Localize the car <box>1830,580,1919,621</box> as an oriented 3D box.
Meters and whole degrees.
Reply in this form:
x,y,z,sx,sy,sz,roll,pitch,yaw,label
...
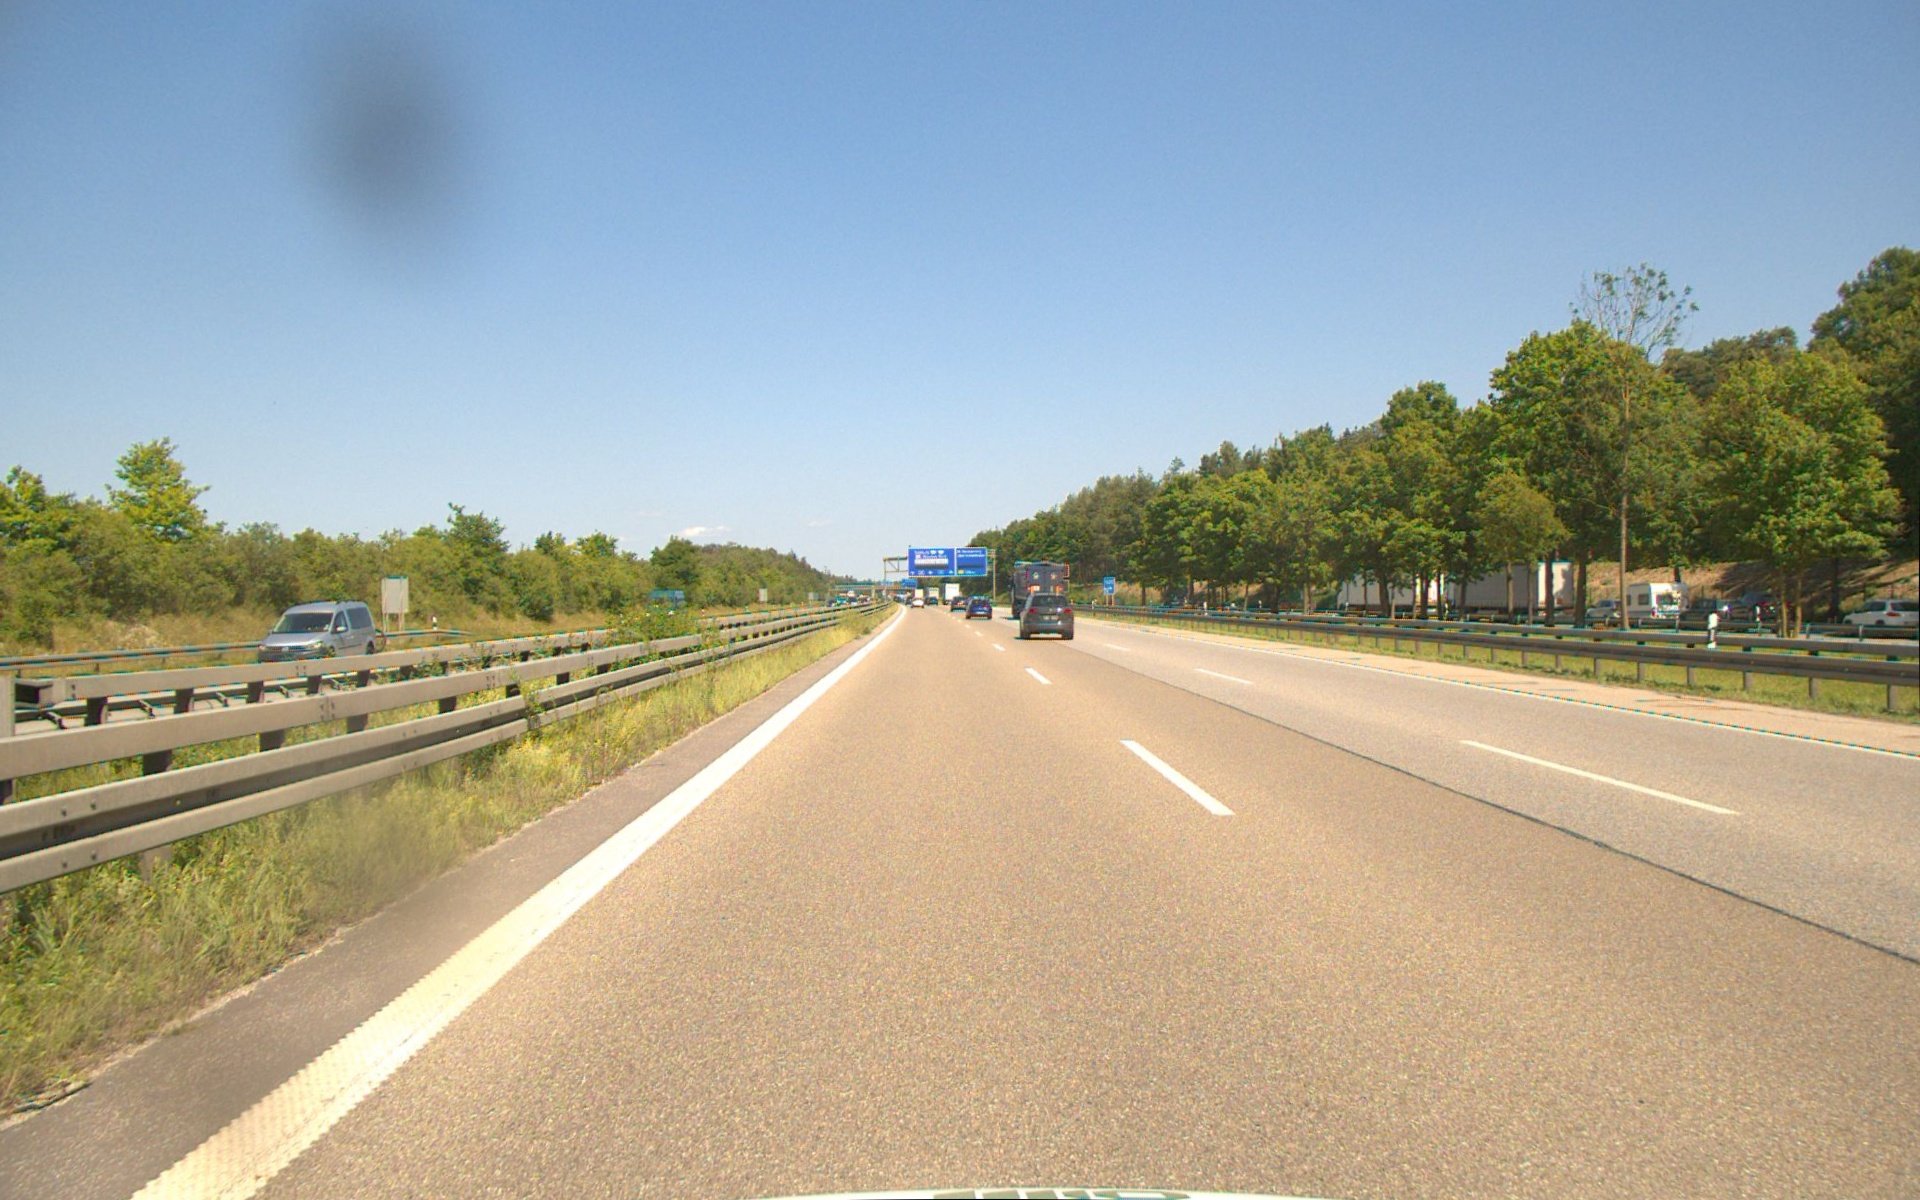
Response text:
x,y,z,sx,sy,sz,roll,pitch,yaw,label
39.921,0.013,72.056,1.622,1.705,4.651,0,0,0,car

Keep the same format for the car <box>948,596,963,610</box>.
x,y,z,sx,sy,sz,roll,pitch,yaw,label
-0.500,0.348,174.351,1.441,1.422,3.410,2,0,-1,car

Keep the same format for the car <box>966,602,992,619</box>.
x,y,z,sx,sy,sz,roll,pitch,yaw,label
1.315,0.716,114.745,1.674,1.176,3.688,-1,0,-1,car

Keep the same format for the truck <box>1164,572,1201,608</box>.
x,y,z,sx,sy,sz,roll,pitch,yaw,label
25.100,-1.155,186.699,2.528,3.983,4.848,0,0,-14,truck

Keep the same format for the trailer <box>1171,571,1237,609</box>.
x,y,z,sx,sy,sz,roll,pitch,yaw,label
26.553,-1.054,180.730,2.528,3.983,12.701,0,0,-14,trailer

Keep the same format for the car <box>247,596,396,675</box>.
x,y,z,sx,sy,sz,roll,pitch,yaw,label
-16.861,0.877,43.976,1.953,1.867,5.331,-3,0,-2,car

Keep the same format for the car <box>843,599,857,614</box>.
x,y,z,sx,sy,sz,roll,pitch,yaw,label
-16.714,0.951,251.221,1.953,2.146,4.301,-2,0,-1,car

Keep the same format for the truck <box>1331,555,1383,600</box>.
x,y,z,sx,sy,sz,roll,pitch,yaw,label
34.581,-1.905,144.227,2.756,3.863,5.136,0,0,-8,truck

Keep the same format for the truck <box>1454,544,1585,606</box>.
x,y,z,sx,sy,sz,roll,pitch,yaw,label
38.352,-1.616,114.195,2.938,4.000,14.443,0,0,-5,truck

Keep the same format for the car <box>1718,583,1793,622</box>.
x,y,z,sx,sy,sz,roll,pitch,yaw,label
39.387,0.117,82.016,1.621,1.910,4.802,0,0,3,car

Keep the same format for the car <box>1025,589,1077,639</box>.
x,y,z,sx,sy,sz,roll,pitch,yaw,label
3.283,0.478,60.078,1.762,1.698,4.259,1,0,2,car

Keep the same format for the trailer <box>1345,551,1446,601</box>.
x,y,z,sx,sy,sz,roll,pitch,yaw,label
35.699,-1.890,136.464,2.804,3.863,14.163,0,0,-8,trailer

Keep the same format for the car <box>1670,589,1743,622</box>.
x,y,z,sx,sy,sz,roll,pitch,yaw,label
39.595,0.290,87.847,1.623,1.670,4.493,0,0,-4,car

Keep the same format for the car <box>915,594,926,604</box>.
x,y,z,sx,sy,sz,roll,pitch,yaw,label
-5.359,-0.122,223.896,1.441,1.249,3.410,-1,0,-1,car

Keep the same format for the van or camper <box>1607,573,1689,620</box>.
x,y,z,sx,sy,sz,roll,pitch,yaw,label
39.286,-0.187,94.585,2.158,2.575,5.874,0,0,-1,van or camper

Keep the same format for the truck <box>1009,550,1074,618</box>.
x,y,z,sx,sy,sz,roll,pitch,yaw,label
5.632,-1.077,116.840,3.703,4.499,14.048,0,0,-1,truck

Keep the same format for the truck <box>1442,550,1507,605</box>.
x,y,z,sx,sy,sz,roll,pitch,yaw,label
37.672,-1.625,121.335,2.913,4.000,4.828,0,0,-6,truck
